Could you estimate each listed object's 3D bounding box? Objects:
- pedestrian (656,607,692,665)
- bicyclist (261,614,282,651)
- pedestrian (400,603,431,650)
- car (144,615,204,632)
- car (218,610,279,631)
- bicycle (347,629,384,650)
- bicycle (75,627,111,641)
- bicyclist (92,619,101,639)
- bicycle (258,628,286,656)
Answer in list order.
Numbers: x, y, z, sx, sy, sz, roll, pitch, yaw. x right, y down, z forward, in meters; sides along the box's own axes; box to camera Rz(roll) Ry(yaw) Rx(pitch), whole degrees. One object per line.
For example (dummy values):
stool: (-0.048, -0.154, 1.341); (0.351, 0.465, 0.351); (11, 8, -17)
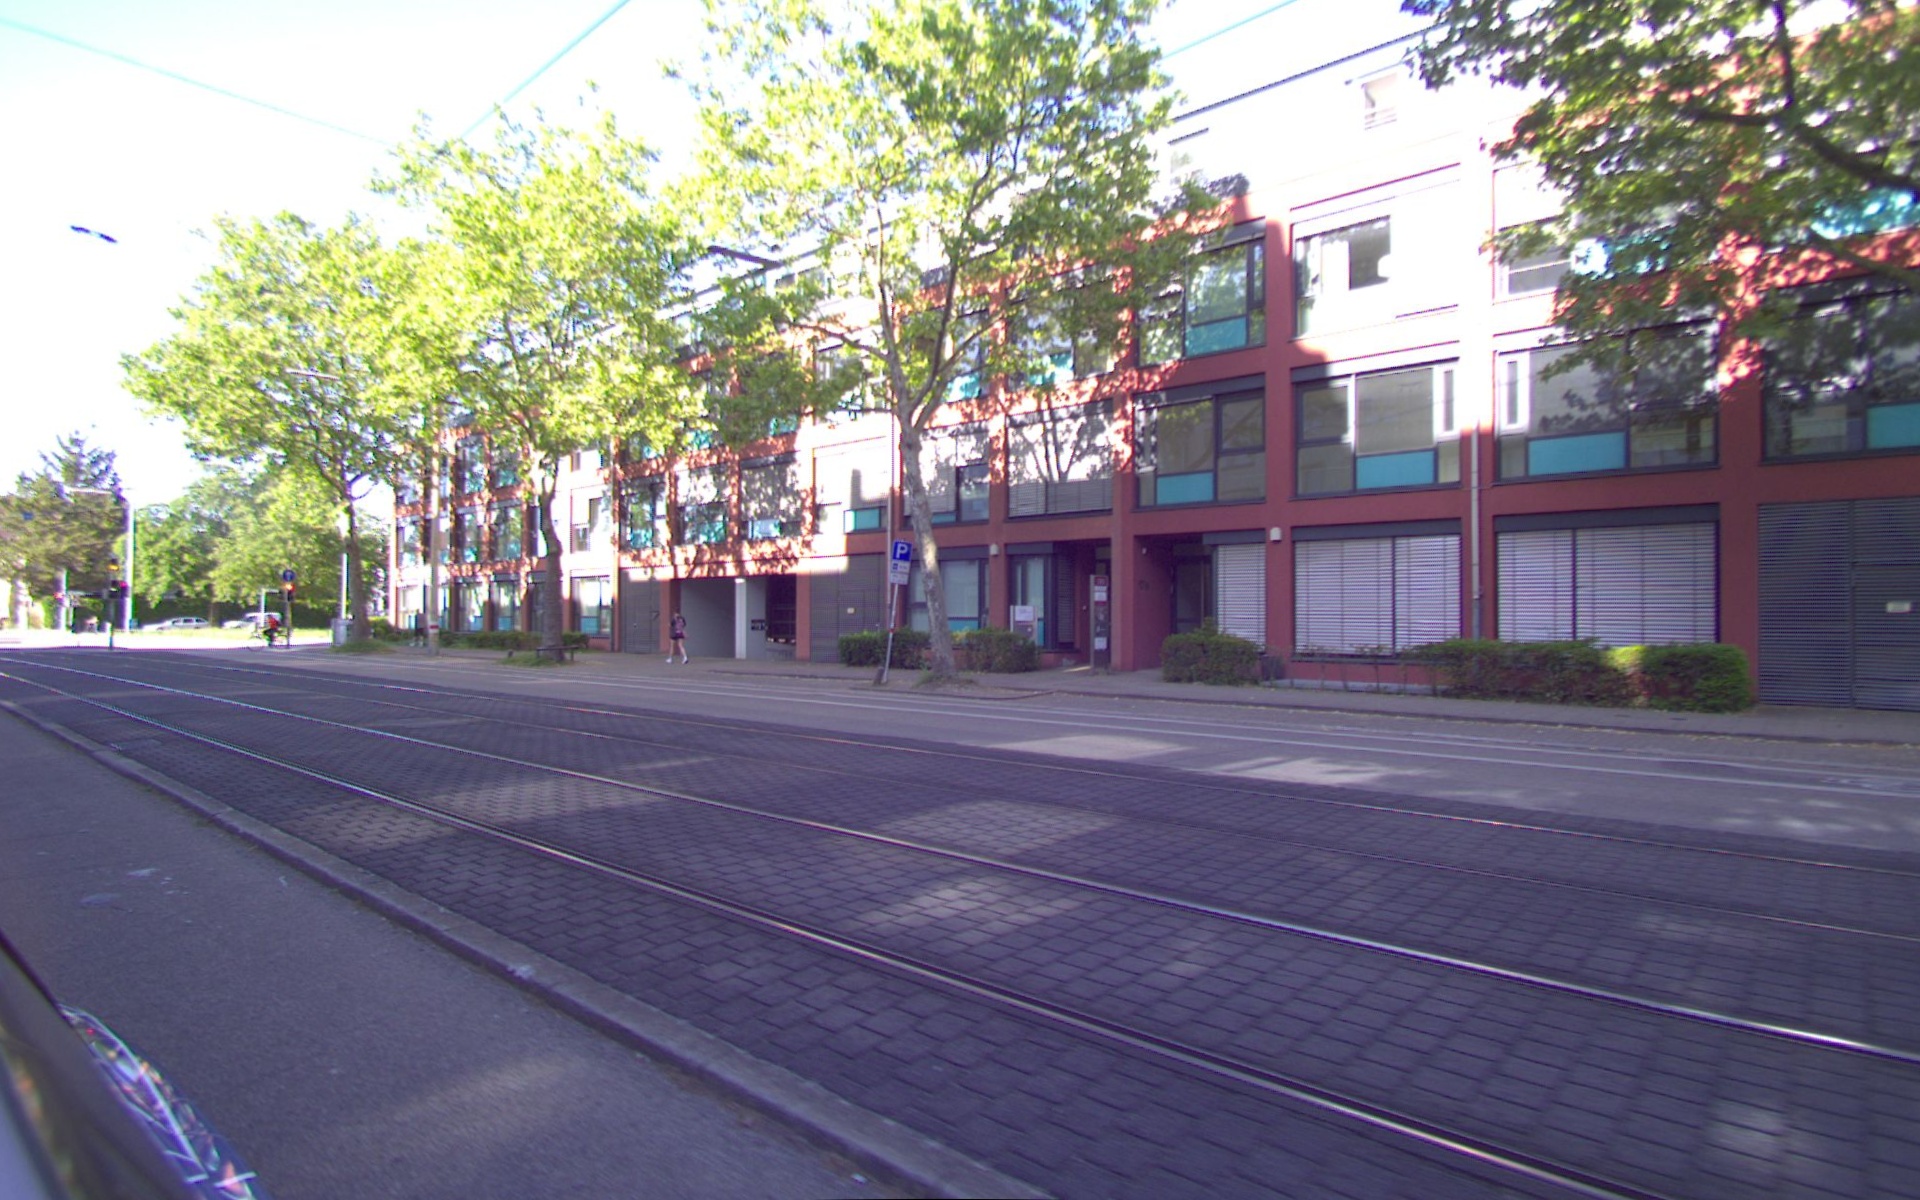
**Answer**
pedestrian: (-8.822, 1.092, 31.205); (0.900, 1.731, 0.619); (-1, 1, 40)
bicyclist: (-32.717, 1.527, 48.098); (0.596, 1.705, 0.935); (-2, 0, -24)
pedestrian: (-24.153, 1.161, 44.879); (0.778, 2.029, 0.903); (-2, 0, 33)
car: (-66.989, 1.977, 86.258); (3.939, 1.444, 1.818); (1, -1, -43)
car: (-64.783, 1.896, 92.181); (1.817, 1.881, 4.253); (-1, -2, 43)
bicycle: (-26.008, 1.711, 44.263); (1.531, 0.913, 0.519); (0, -1, 18)
bicycle: (-70.901, 2.760, 82.774); (2.251, 1.126, 0.931); (1, -1, -41)
bicyclist: (-70.783, 2.347, 82.990); (0.551, 1.635, 0.899); (1, -1, -41)
bicycle: (-32.672, 1.979, 48.082); (0.623, 1.137, 2.042); (-5, 4, -23)
